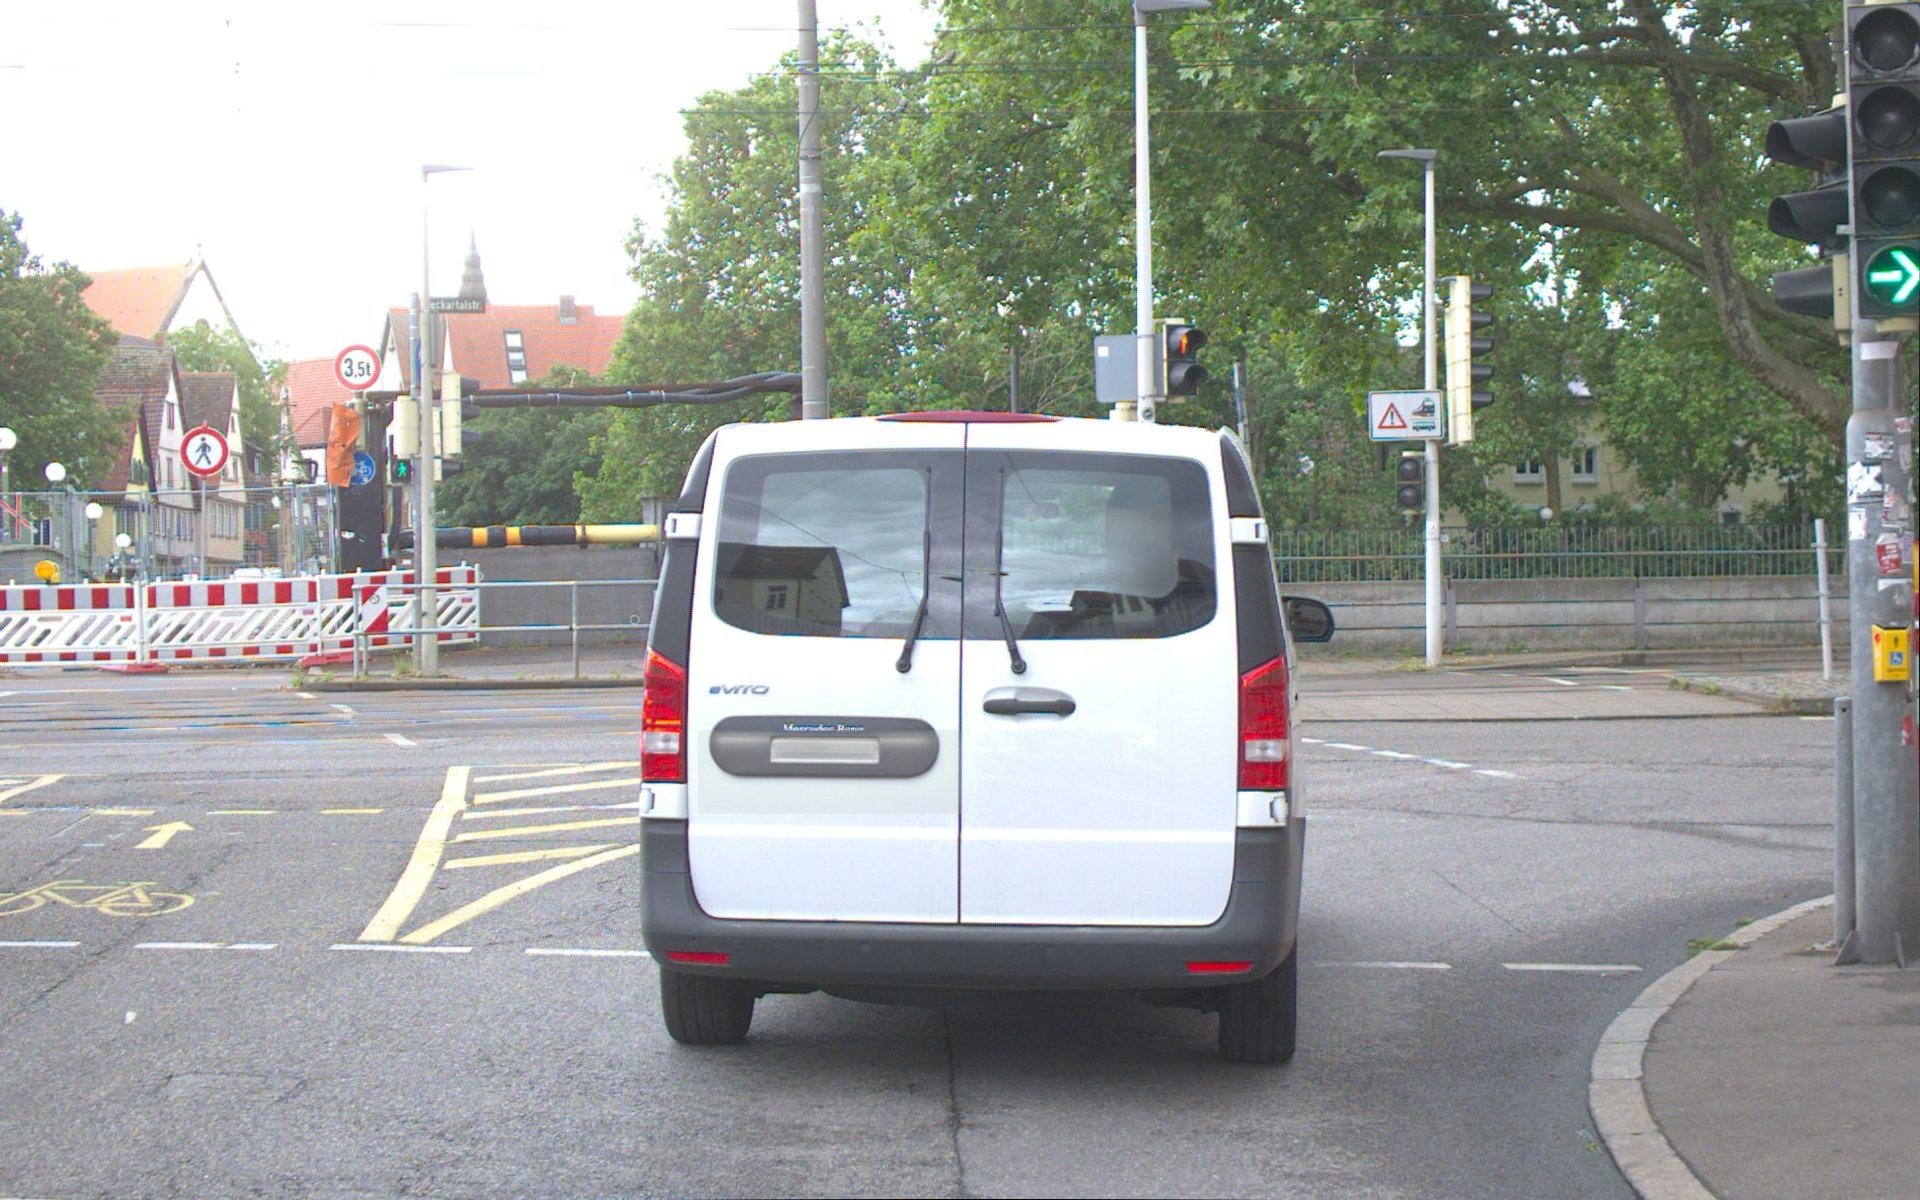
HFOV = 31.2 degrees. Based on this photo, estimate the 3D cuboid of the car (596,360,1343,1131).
[{"bbox_3d":[0.271,0.327,11.405,1.951,2.007,4.697,1,1,7],"label":"car"}]
